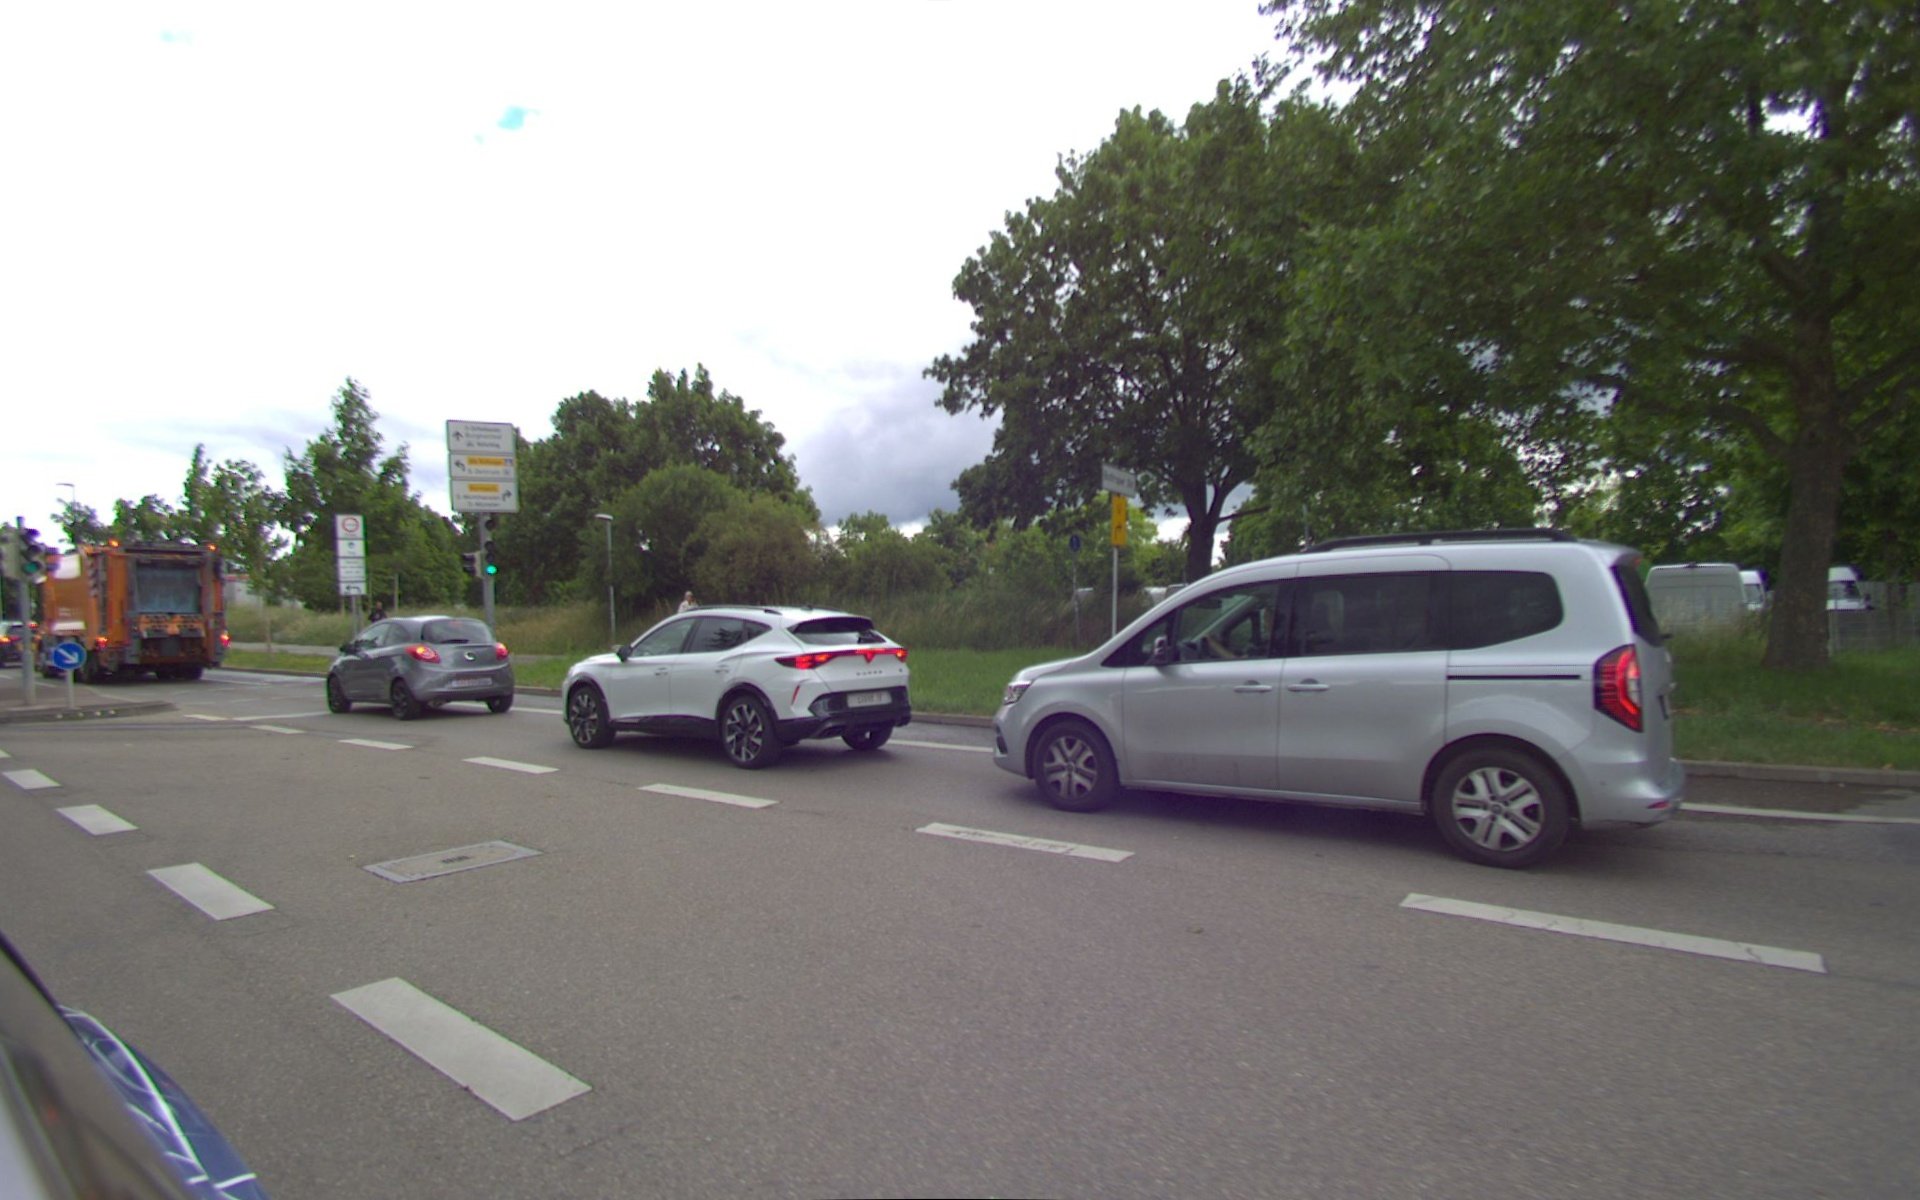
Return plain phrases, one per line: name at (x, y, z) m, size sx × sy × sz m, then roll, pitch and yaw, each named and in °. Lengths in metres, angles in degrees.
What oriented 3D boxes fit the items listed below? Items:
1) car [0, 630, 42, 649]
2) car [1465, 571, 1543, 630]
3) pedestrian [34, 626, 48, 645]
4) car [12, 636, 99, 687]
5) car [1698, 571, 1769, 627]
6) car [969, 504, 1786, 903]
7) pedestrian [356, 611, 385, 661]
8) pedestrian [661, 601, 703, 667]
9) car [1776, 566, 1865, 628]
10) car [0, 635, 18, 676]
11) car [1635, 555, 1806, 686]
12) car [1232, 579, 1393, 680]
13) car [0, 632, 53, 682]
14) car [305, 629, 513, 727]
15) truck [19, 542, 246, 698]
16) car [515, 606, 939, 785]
car at (-102.626, 4.292, 109.808) m, size 1.809 × 1.793 × 4.177 m, roll -3°, pitch 0°, yaw 32°
car at (24.681, 0.007, 45.829) m, size 2.399 × 2.474 × 4.922 m, roll -2°, pitch -1°, yaw 36°
pedestrian at (-67.836, 2.619, 74.700) m, size 0.771 × 1.374 × 0.545 m, roll -3°, pitch 0°, yaw 31°
car at (-28.996, 1.950, 32.394) m, size 3.889 × 1.468 × 1.420 m, roll -3°, pitch 0°, yaw 39°
car at (30.286, -0.033, 39.733) m, size 1.996 × 2.029 × 4.922 m, roll -2°, pitch -1°, yaw 36°
car at (2.457, 0.549, 6.782) m, size 4.643 × 1.817 × 1.828 m, roll -2°, pitch -2°, yaw 38°
pedestrian at (-21.996, 1.339, 37.761) m, size 0.677 × 1.849 × 0.714 m, roll -2°, pitch 0°, yaw 39°
pedestrian at (-7.274, 0.877, 26.449) m, size 0.753 × 1.665 × 0.736 m, roll -2°, pitch -1°, yaw 40°
car at (33.072, -0.127, 39.036) m, size 1.995 × 2.207 × 4.925 m, roll -2°, pitch -1°, yaw 34°
car at (-39.786, 2.275, 41.011) m, size 4.218 × 1.597 × 1.714 m, roll -3°, pitch 0°, yaw 38°
car at (16.740, 0.388, 22.518) m, size 2.652 × 2.494 × 5.991 m, roll -2°, pitch 0°, yaw 35°
car at (10.009, 0.722, 28.361) m, size 2.652 × 2.494 × 5.991 m, roll -2°, pitch 0°, yaw 35°
car at (-33.556, 2.007, 35.720) m, size 4.055 × 1.597 × 1.624 m, roll -3°, pitch 0°, yaw 38°
car at (-8.585, 1.143, 15.664) m, size 3.649 × 1.341 × 1.532 m, roll -2°, pitch -2°, yaw 38°
truck at (-22.195, 0.586, 26.859) m, size 9.984 × 3.513 × 2.679 m, roll -3°, pitch 0°, yaw 39°
car at (-2.664, 0.898, 10.885) m, size 4.808 × 1.532 × 1.828 m, roll -2°, pitch -2°, yaw 38°
